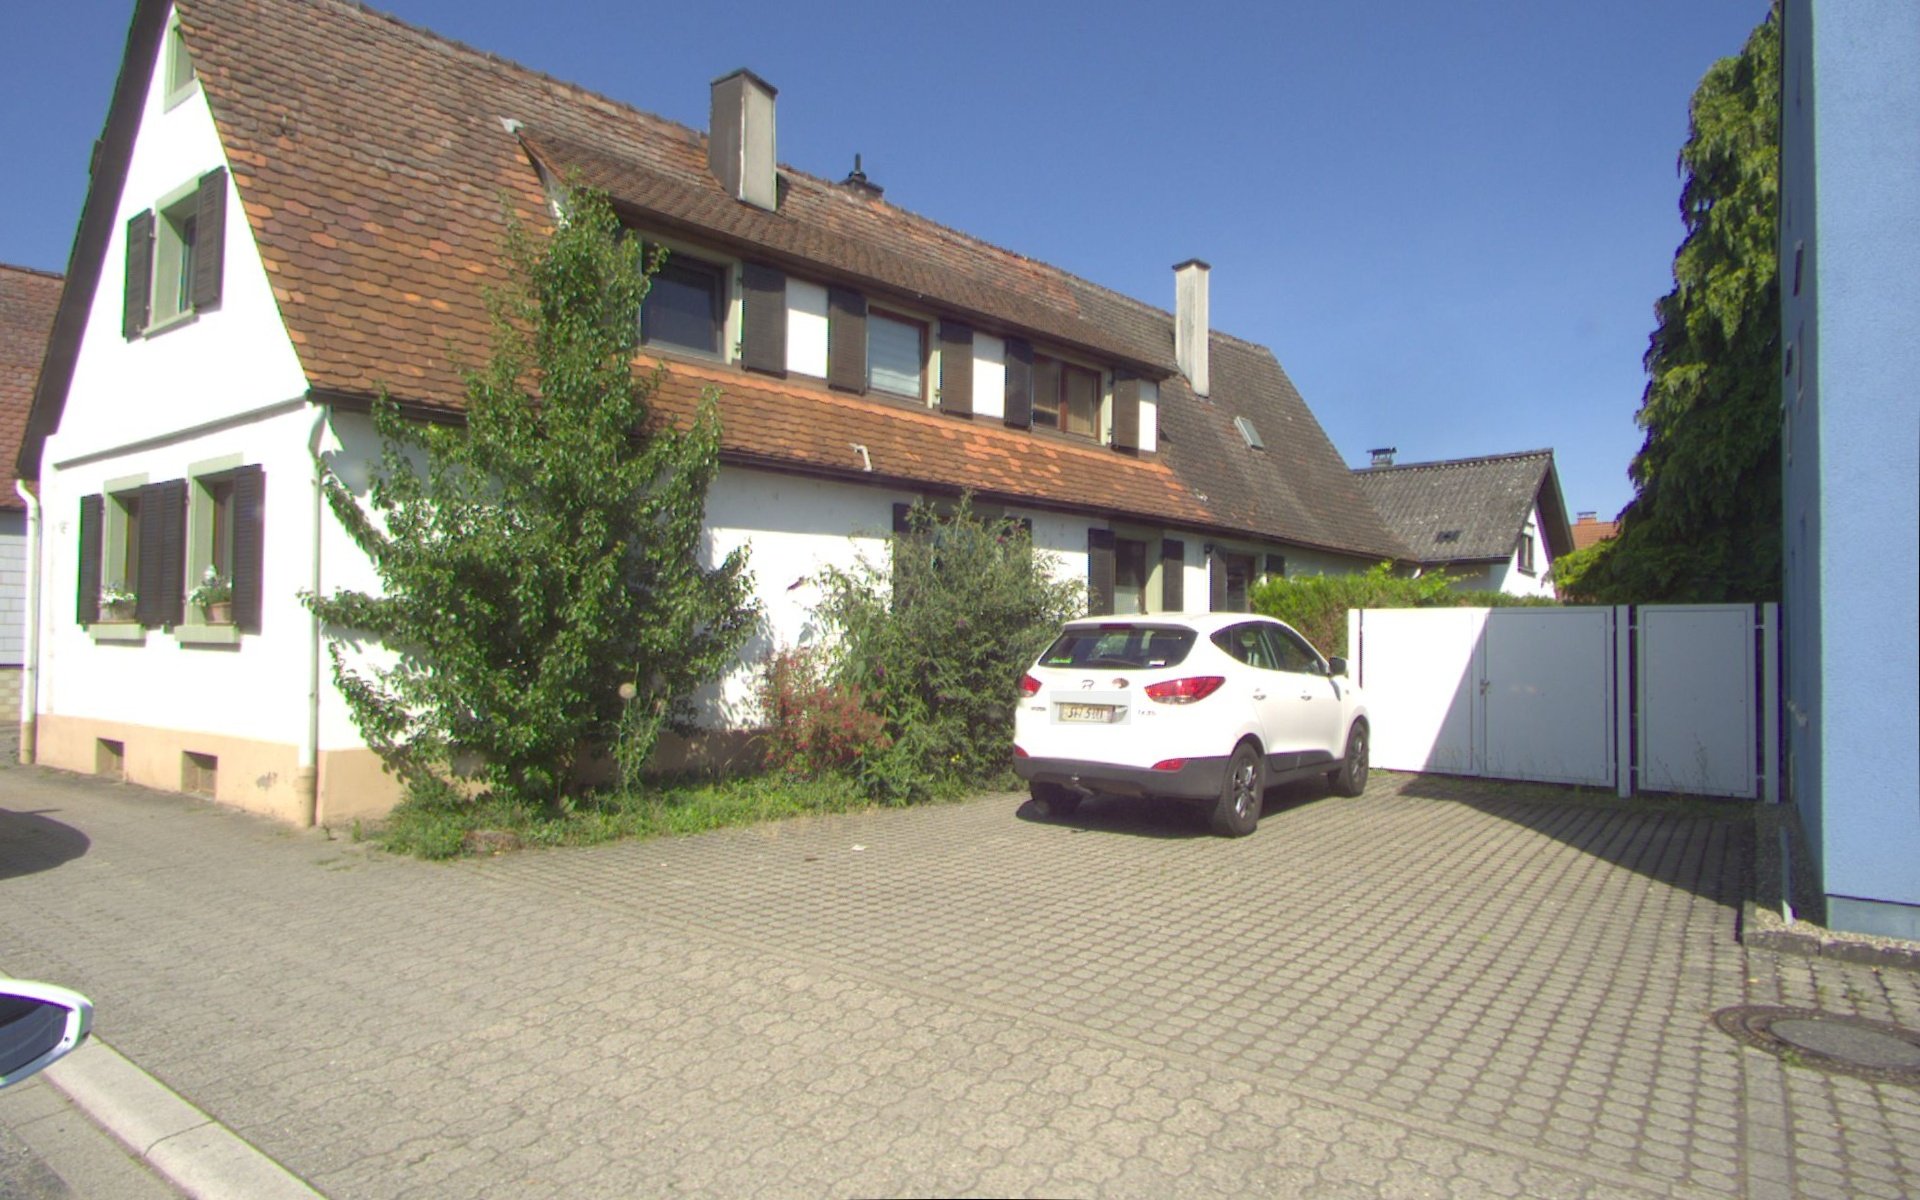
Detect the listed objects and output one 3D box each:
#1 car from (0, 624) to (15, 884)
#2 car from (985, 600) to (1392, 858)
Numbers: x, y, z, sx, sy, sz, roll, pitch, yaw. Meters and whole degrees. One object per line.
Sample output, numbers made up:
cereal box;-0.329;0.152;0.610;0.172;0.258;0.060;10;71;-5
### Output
car;-7.405;0.888;6.001;3.835;1.451;1.701;-1;-1;33
car;2.195;0.944;8.722;1.791;1.678;4.158;-2;-3;40
